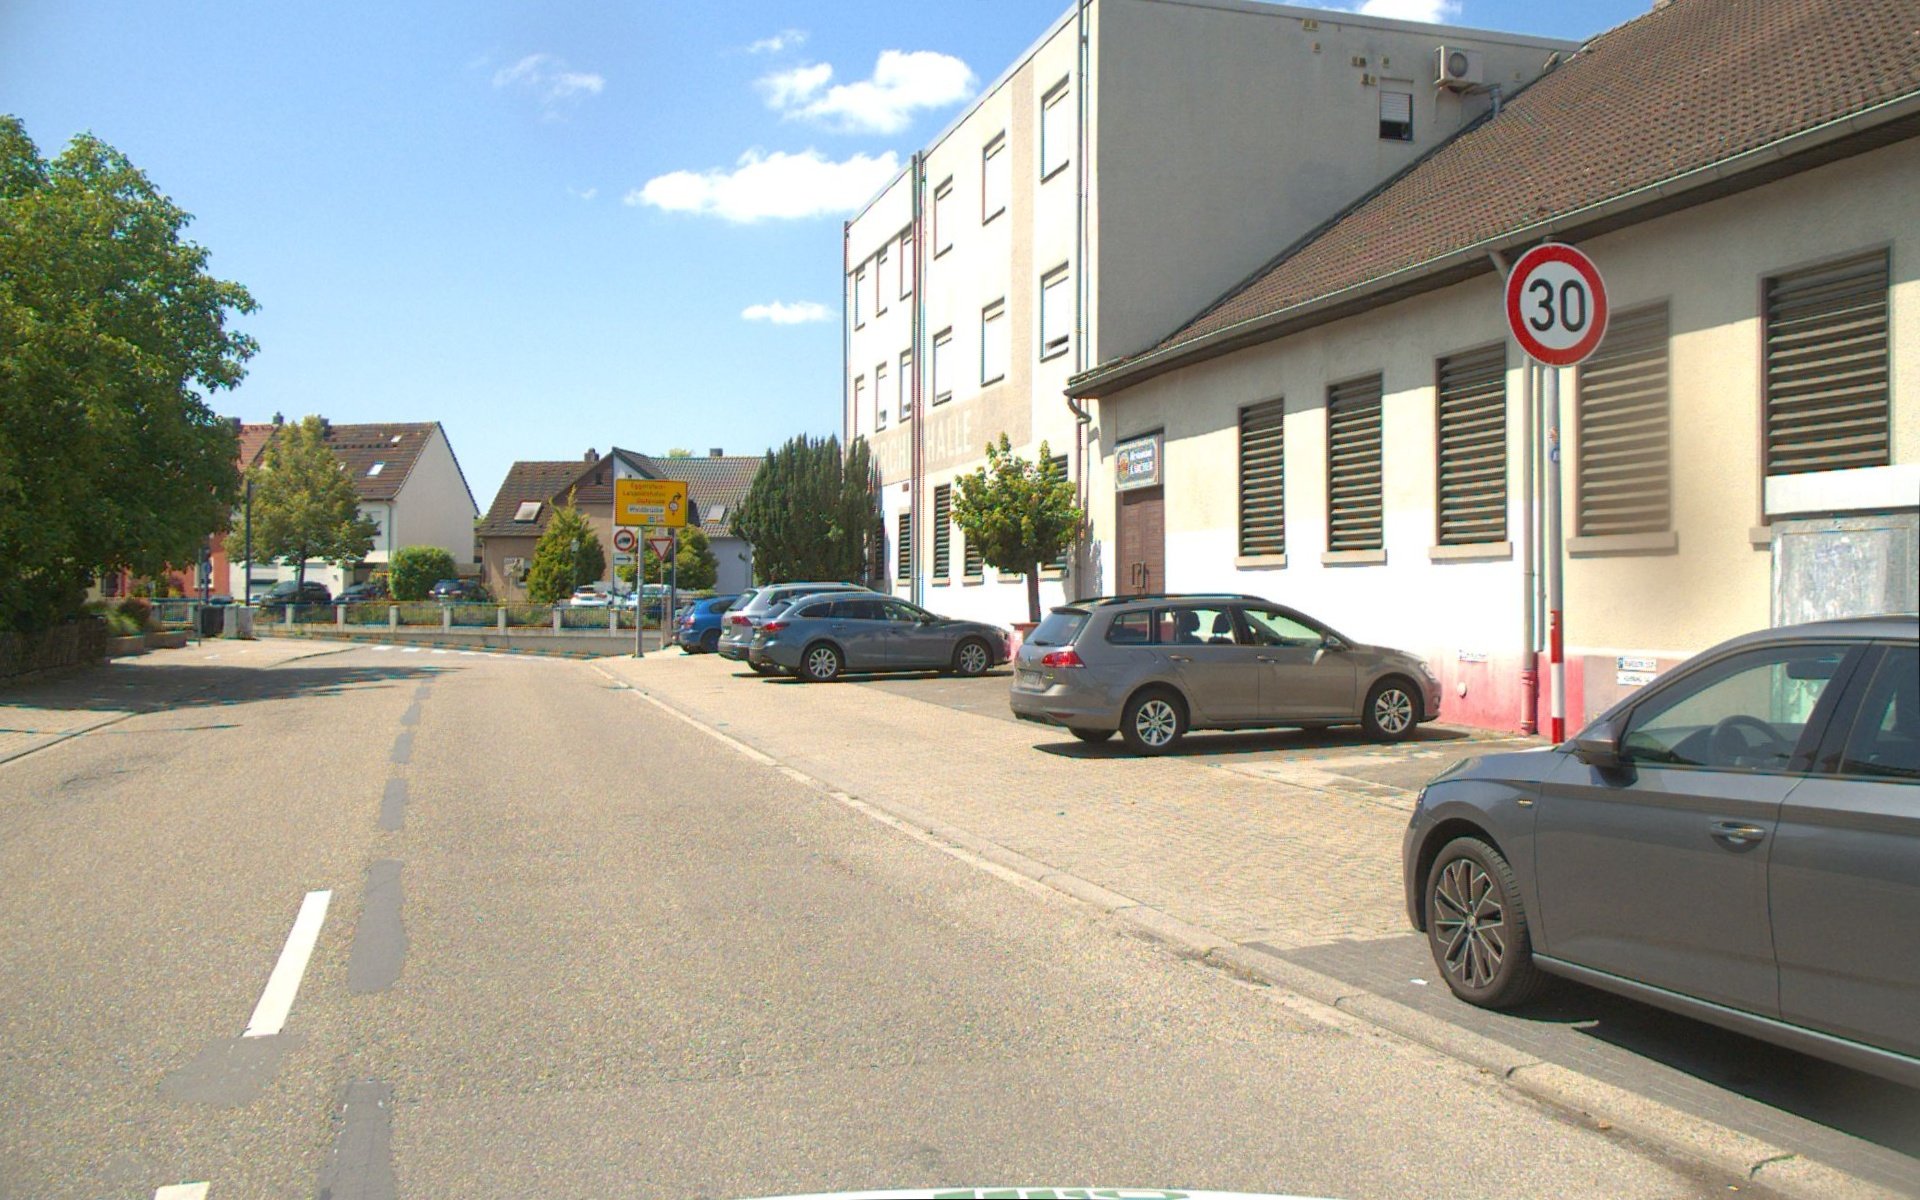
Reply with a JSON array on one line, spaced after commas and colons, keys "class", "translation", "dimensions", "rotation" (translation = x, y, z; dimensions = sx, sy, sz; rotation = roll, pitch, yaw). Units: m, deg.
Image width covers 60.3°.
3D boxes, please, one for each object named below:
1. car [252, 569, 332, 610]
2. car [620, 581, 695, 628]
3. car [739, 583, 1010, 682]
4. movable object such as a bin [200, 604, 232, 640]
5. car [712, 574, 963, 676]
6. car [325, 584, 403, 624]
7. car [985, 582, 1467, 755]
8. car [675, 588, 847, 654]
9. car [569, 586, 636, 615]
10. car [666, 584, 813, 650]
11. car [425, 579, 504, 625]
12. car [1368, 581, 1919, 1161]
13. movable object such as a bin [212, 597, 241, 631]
[{"class": "car", "translation": [-31.657, -0.480, 78.475], "dimensions": [1.828, 1.614, 3.612], "rotation": [4, -2, 9]}, {"class": "car", "translation": [-13.766, 0.232, 75.475], "dimensions": [1.951, 1.828, 4.199], "rotation": [4, -2, 9]}, {"class": "car", "translation": [-1.530, 0.534, 29.287], "dimensions": [4.432, 1.546, 1.990], "rotation": [-2, 1, -19]}, {"class": "movable object such as a bin", "translation": [-25.925, 0.770, 57.640], "dimensions": [0.870, 1.247, 0.898], "rotation": [1, -1, -15]}, {"class": "car", "translation": [-2.335, 0.440, 31.404], "dimensions": [4.387, 1.726, 1.912], "rotation": [-2, 1, -20]}, {"class": "car", "translation": [-28.019, 0.202, 77.891], "dimensions": [1.828, 1.614, 3.612], "rotation": [4, -2, 9]}, {"class": "car", "translation": [2.673, 0.619, 16.805], "dimensions": [4.456, 1.479, 1.908], "rotation": [-2, 1, -18]}, {"class": "car", "translation": [-5.358, 0.576, 44.444], "dimensions": [4.257, 1.464, 1.770], "rotation": [-3, -2, -19]}, {"class": "car", "translation": [-16.348, 0.032, 75.725], "dimensions": [1.786, 1.037, 3.461], "rotation": [4, -2, 9]}, {"class": "car", "translation": [-6.344, 0.498, 47.544], "dimensions": [3.839, 1.516, 1.799], "rotation": [-5, 0, -20]}, {"class": "car", "translation": [-23.140, 0.124, 77.385], "dimensions": [1.828, 1.828, 4.002], "rotation": [4, -2, 9]}, {"class": "car", "translation": [3.085, 0.699, 5.103], "dimensions": [1.603, 1.515, 4.117], "rotation": [-1, 0, -19]}, {"class": "movable object such as a bin", "translation": [-26.990, 0.523, 60.818], "dimensions": [0.831, 1.235, 1.264], "rotation": [2, -1, -30]}]
